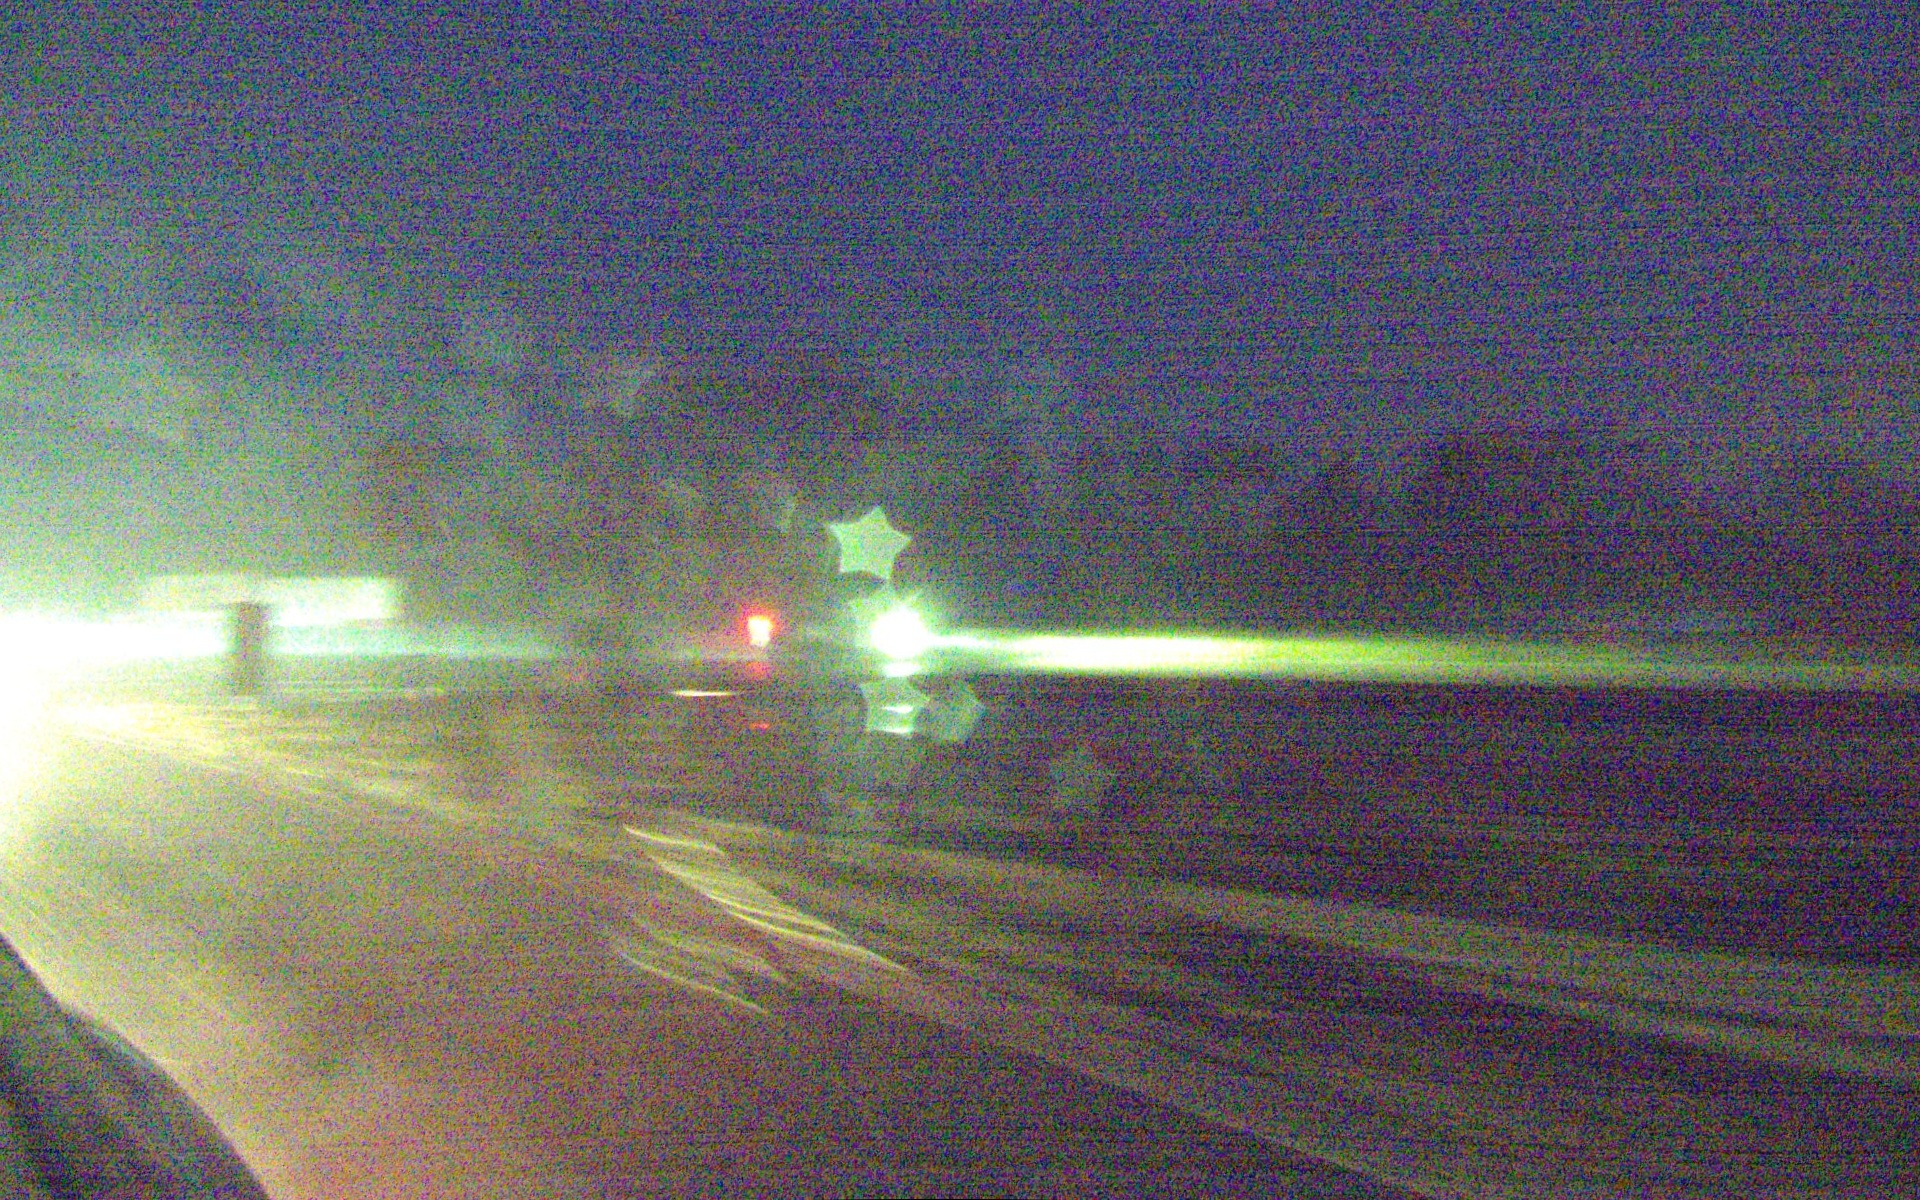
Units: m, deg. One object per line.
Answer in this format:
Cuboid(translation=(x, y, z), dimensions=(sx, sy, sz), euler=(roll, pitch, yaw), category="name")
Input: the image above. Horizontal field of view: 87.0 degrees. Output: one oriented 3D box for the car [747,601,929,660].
Cuboid(translation=(-3.438, 0.811, 28.482), dimensions=(4.829, 1.492, 1.755), euler=(0, 2, 20), category="car")
